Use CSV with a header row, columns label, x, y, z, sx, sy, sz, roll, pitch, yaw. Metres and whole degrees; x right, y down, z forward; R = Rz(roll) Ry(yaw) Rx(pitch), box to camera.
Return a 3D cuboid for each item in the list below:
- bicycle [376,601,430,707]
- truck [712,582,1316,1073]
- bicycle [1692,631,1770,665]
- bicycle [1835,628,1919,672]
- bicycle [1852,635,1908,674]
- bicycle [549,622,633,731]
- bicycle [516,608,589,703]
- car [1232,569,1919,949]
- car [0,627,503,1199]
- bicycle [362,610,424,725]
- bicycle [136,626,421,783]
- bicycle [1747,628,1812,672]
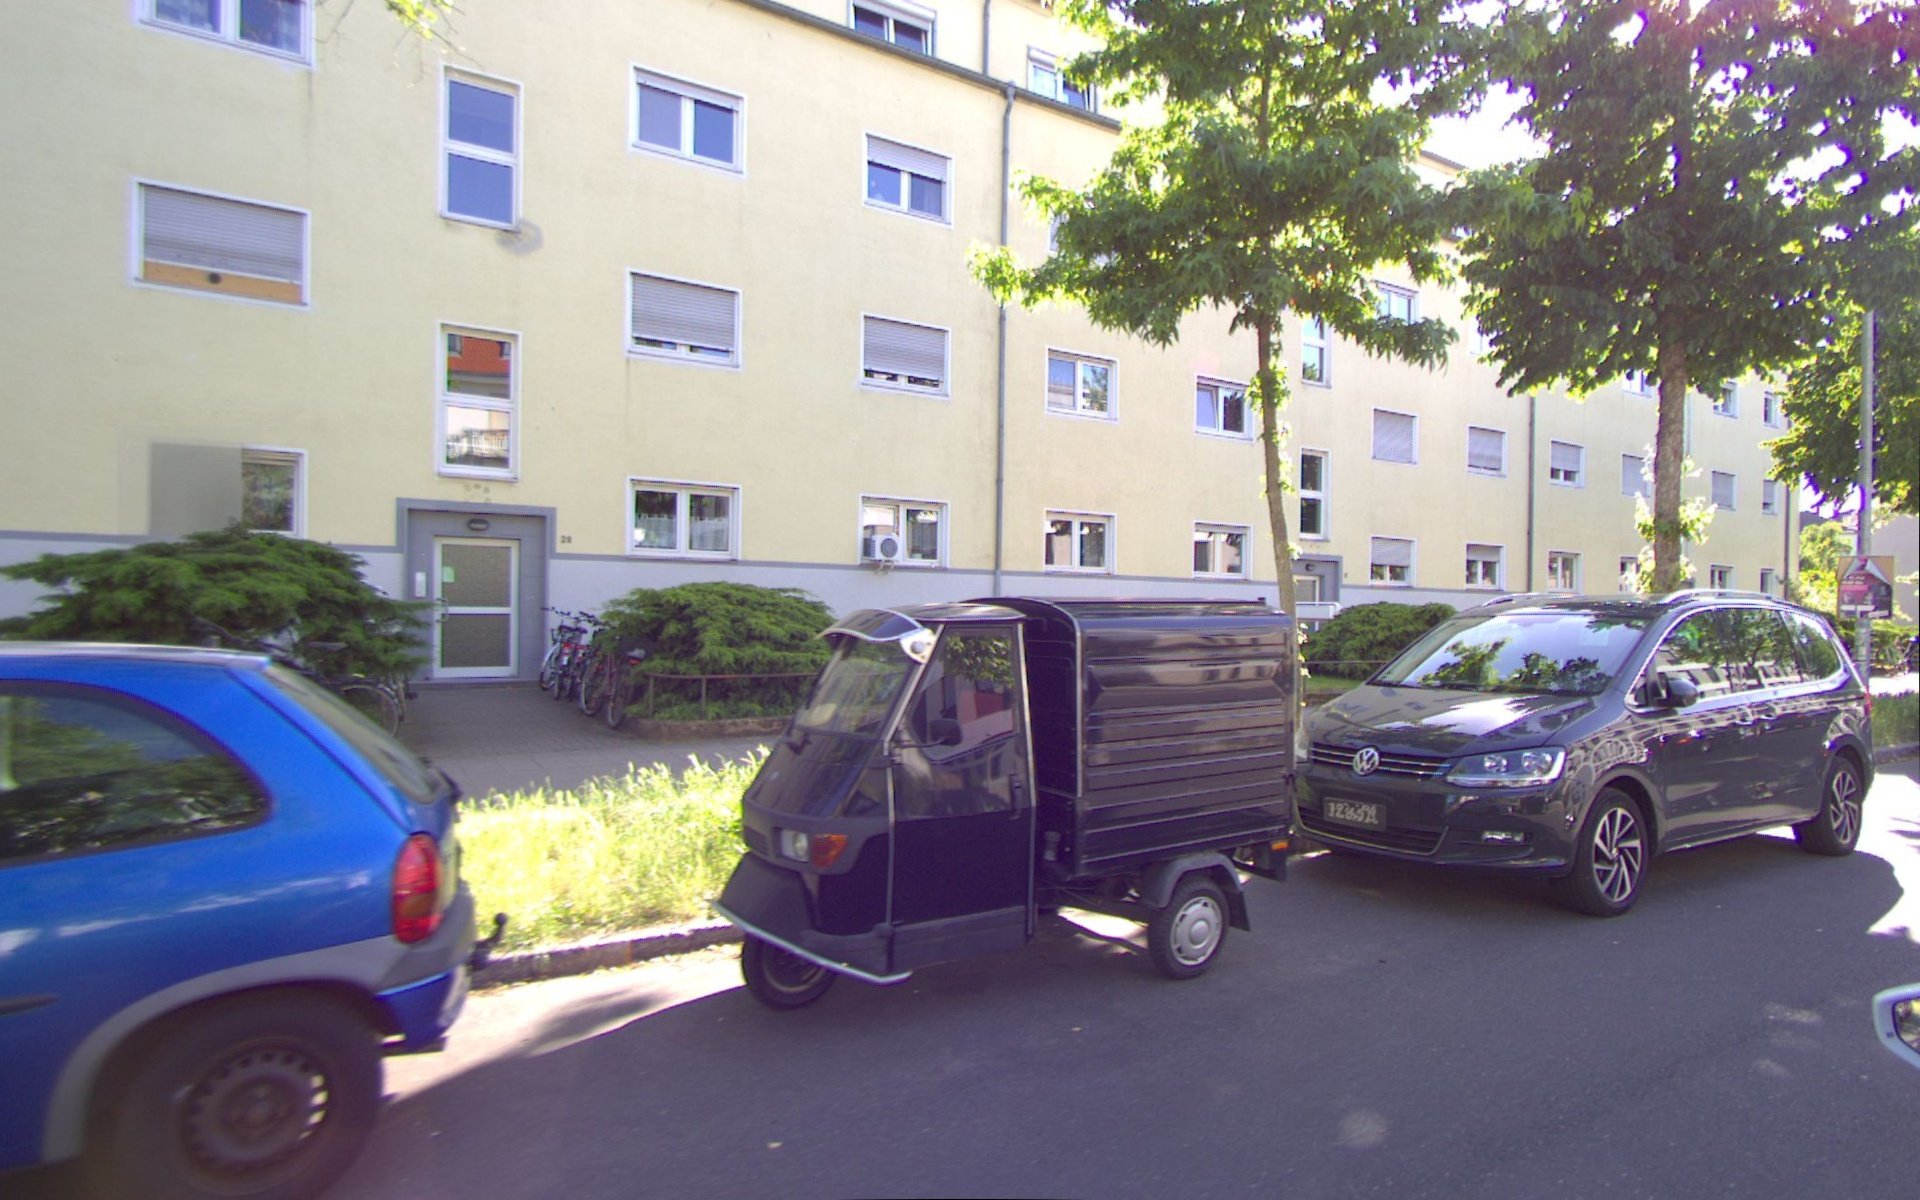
label,x,y,z,sx,sy,sz,roll,pitch,yaw
bicycle,-6.889,0.631,12.474,0.480,1.161,1.832,2,1,-27
truck,0.267,0.762,4.330,2.402,1.598,1.079,1,-1,-29
bicycle,24.590,1.510,32.069,0.591,1.005,1.907,1,-1,-37
bicycle,26.737,1.425,29.027,0.685,1.225,2.126,1,-1,-41
bicycle,24.673,1.450,26.921,1.906,1.005,0.592,1,-1,-31
bicycle,-4.153,0.805,11.224,0.481,1.095,1.828,1,-1,-33
bicycle,-5.497,0.718,13.489,0.482,1.095,1.828,5,0,-34
car,4.236,0.791,6.608,4.920,1.702,1.840,1,-3,-31
car,-3.188,0.779,2.358,3.686,1.414,1.512,1,-1,-32
bicycle,-6.272,0.703,11.159,0.480,1.095,1.832,2,1,-27
bicycle,-5.429,0.778,8.130,0.478,1.095,1.839,3,1,35
bicycle,19.575,1.180,23.976,1.906,1.005,0.592,1,-1,-31
